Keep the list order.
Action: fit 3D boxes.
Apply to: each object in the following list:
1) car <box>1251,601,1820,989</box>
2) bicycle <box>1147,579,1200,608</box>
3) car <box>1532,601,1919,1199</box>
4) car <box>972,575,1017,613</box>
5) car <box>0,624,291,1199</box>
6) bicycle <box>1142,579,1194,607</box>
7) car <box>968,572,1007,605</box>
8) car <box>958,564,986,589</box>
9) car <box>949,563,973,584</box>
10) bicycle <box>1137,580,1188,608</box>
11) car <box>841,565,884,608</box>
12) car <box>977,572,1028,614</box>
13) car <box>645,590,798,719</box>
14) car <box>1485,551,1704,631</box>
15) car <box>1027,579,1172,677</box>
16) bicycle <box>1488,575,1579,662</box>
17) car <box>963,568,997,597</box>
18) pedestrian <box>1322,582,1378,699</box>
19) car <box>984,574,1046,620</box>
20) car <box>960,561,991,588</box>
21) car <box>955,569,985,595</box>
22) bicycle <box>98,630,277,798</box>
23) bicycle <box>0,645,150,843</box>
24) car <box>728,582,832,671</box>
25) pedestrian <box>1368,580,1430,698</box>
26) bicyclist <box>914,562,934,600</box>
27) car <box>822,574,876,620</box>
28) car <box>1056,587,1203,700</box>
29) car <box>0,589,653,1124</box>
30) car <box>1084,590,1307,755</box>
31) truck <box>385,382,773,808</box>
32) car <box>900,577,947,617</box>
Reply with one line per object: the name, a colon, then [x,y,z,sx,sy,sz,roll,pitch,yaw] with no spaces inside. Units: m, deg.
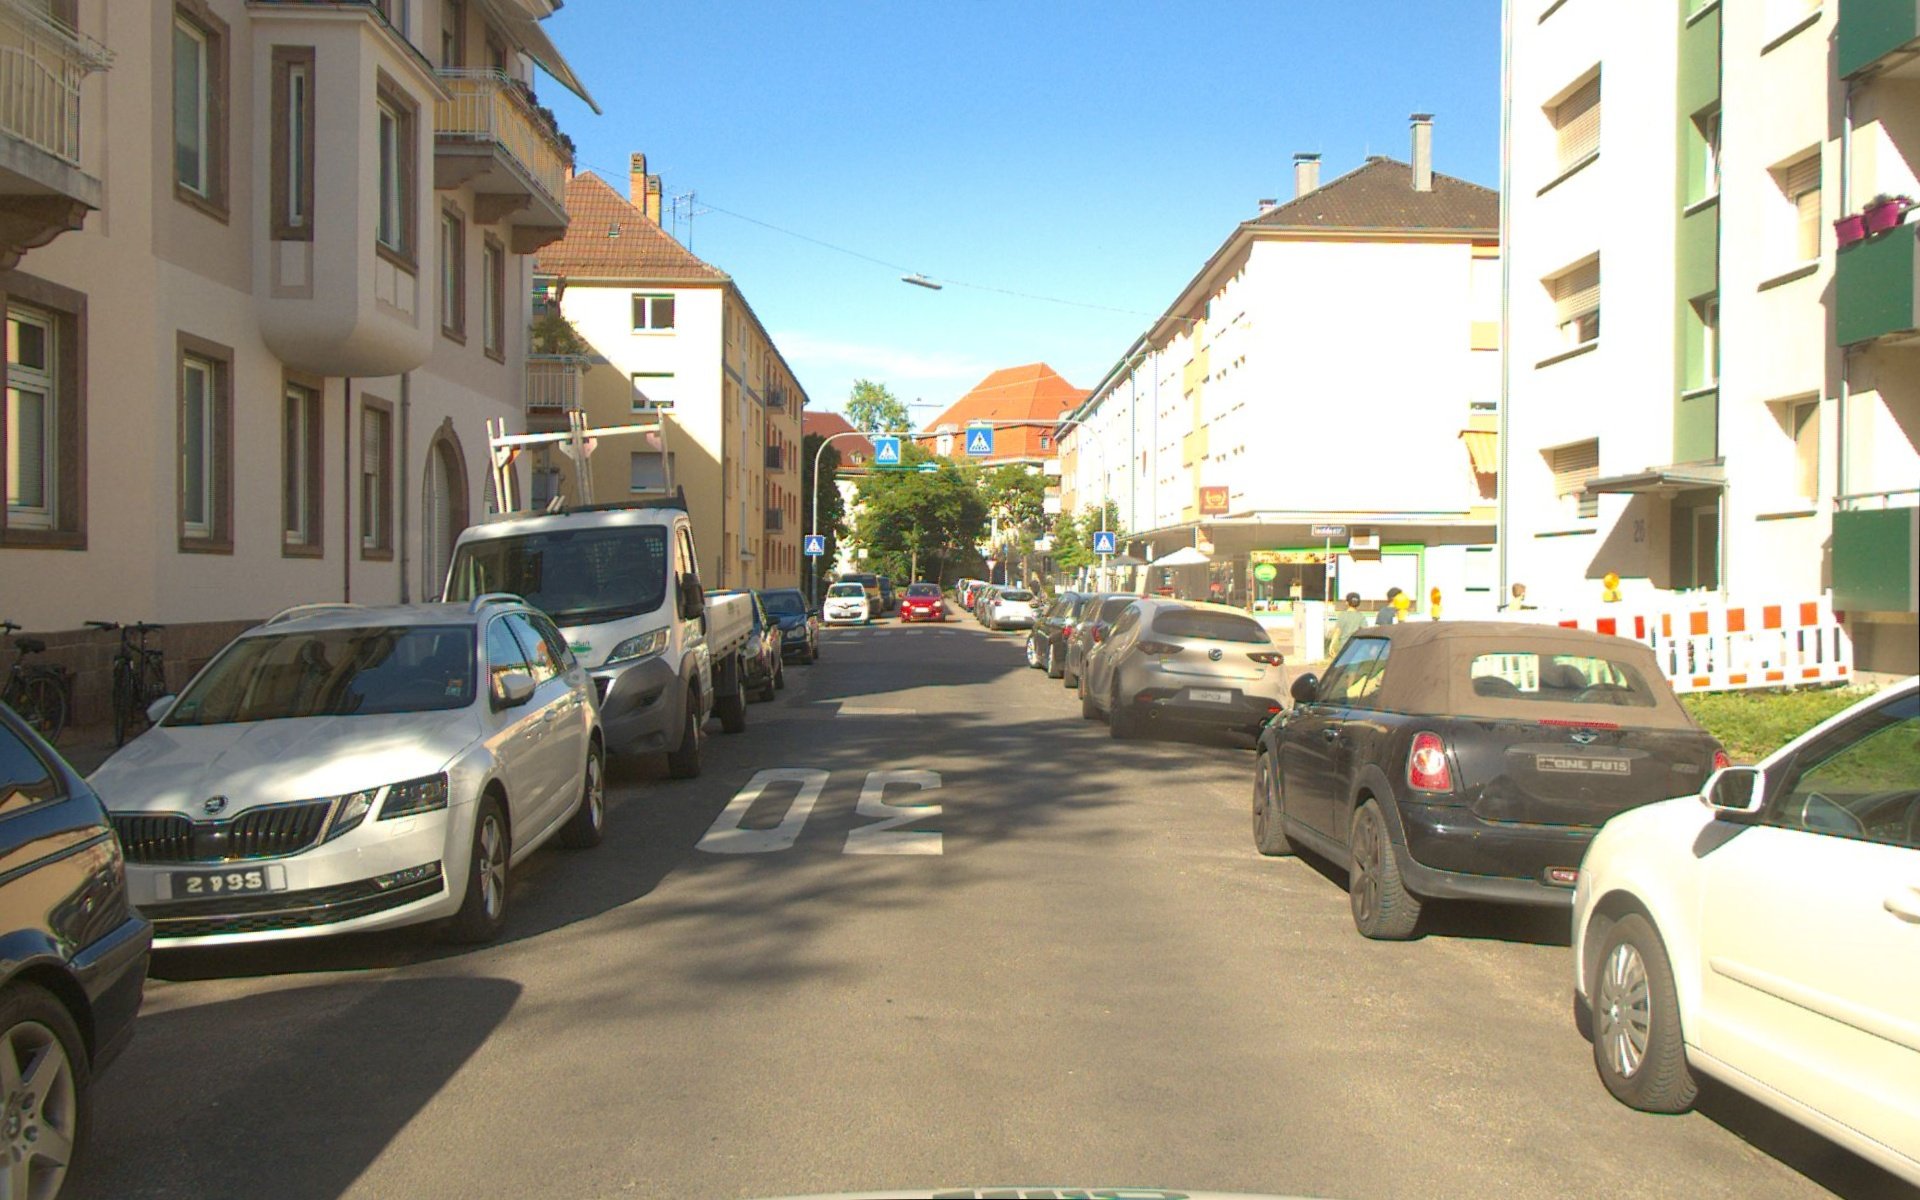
car: [2.712,0.815,8.675,1.654,1.492,3.582,3,1,-1]
bicycle: [7.764,-0.233,60.060,1.774,0.984,0.672,-1,1,-12]
car: [2.997,0.842,3.911,1.653,1.488,3.817,4,1,-4]
car: [1.371,-0.274,67.686,1.605,1.466,3.417,-1,1,-3]
car: [-2.729,0.967,2.232,1.756,1.589,4.459,-5,1,-1]
bicycle: [7.629,-0.275,60.685,1.774,0.984,0.672,-1,1,-12]
car: [1.262,-0.545,76.755,1.605,1.466,3.417,-1,1,-3]
car: [0.747,-1.493,103.717,1.605,1.466,3.418,-1,1,-2]
car: [0.082,-1.989,122.905,1.605,1.466,3.418,-1,1,-2]
bicycle: [7.502,-0.237,61.311,1.774,0.984,0.672,-1,1,-12]
car: [-4.244,-0.620,72.320,1.663,1.809,4.098,-1,1,-1]
car: [1.574,-0.294,61.827,1.656,1.466,3.417,-1,1,-3]
car: [-3.176,0.670,22.671,1.613,1.440,4.078,-5,1,-3]
car: [13.907,-0.212,36.448,4.153,1.641,1.825,-1,1,4]
car: [2.331,0.417,28.824,1.817,1.550,4.774,0,1,-4]
bicycle: [8.418,0.248,24.348,0.548,1.138,1.898,-6,2,-1]
car: [1.056,-0.971,88.343,1.605,1.466,3.418,-1,1,-2]
pedestrian: [5.000,0.514,21.192,0.498,1.458,0.449,-1,2,40]
car: [1.854,-0.117,56.890,1.808,1.466,3.417,-1,1,-3]
car: [0.863,-1.467,94.843,1.605,1.465,3.418,-1,2,-2]
car: [0.592,-1.110,99.122,1.605,1.466,3.418,-1,1,-2]
bicycle: [-7.086,0.995,15.311,0.558,1.301,2.340,-1,2,-1]
bicycle: [-6.948,1.031,12.388,0.616,1.224,2.340,-1,2,-1]
car: [-3.401,0.456,31.900,1.670,1.440,4.371,-5,1,-3]
pedestrian: [5.595,0.486,21.082,0.464,1.458,0.572,-3,2,-25]
bicyclist: [-1.592,-0.855,73.137,0.769,1.649,0.956,-3,1,3]
car: [-4.070,-0.142,61.234,1.755,1.506,4.099,-2,2,-1]
car: [2.378,0.557,24.001,1.612,1.485,3.938,0,1,-2]
car: [-2.785,0.891,8.161,1.757,1.566,4.639,-7,2,-3]
car: [2.463,0.694,18.330,1.756,1.496,4.339,3,1,-1]
truck: [-3.164,-0.091,15.622,2.214,3.038,7.273,-1,1,-3]
car: [-1.439,-0.140,63.711,1.664,1.466,3.417,-1,1,-3]
